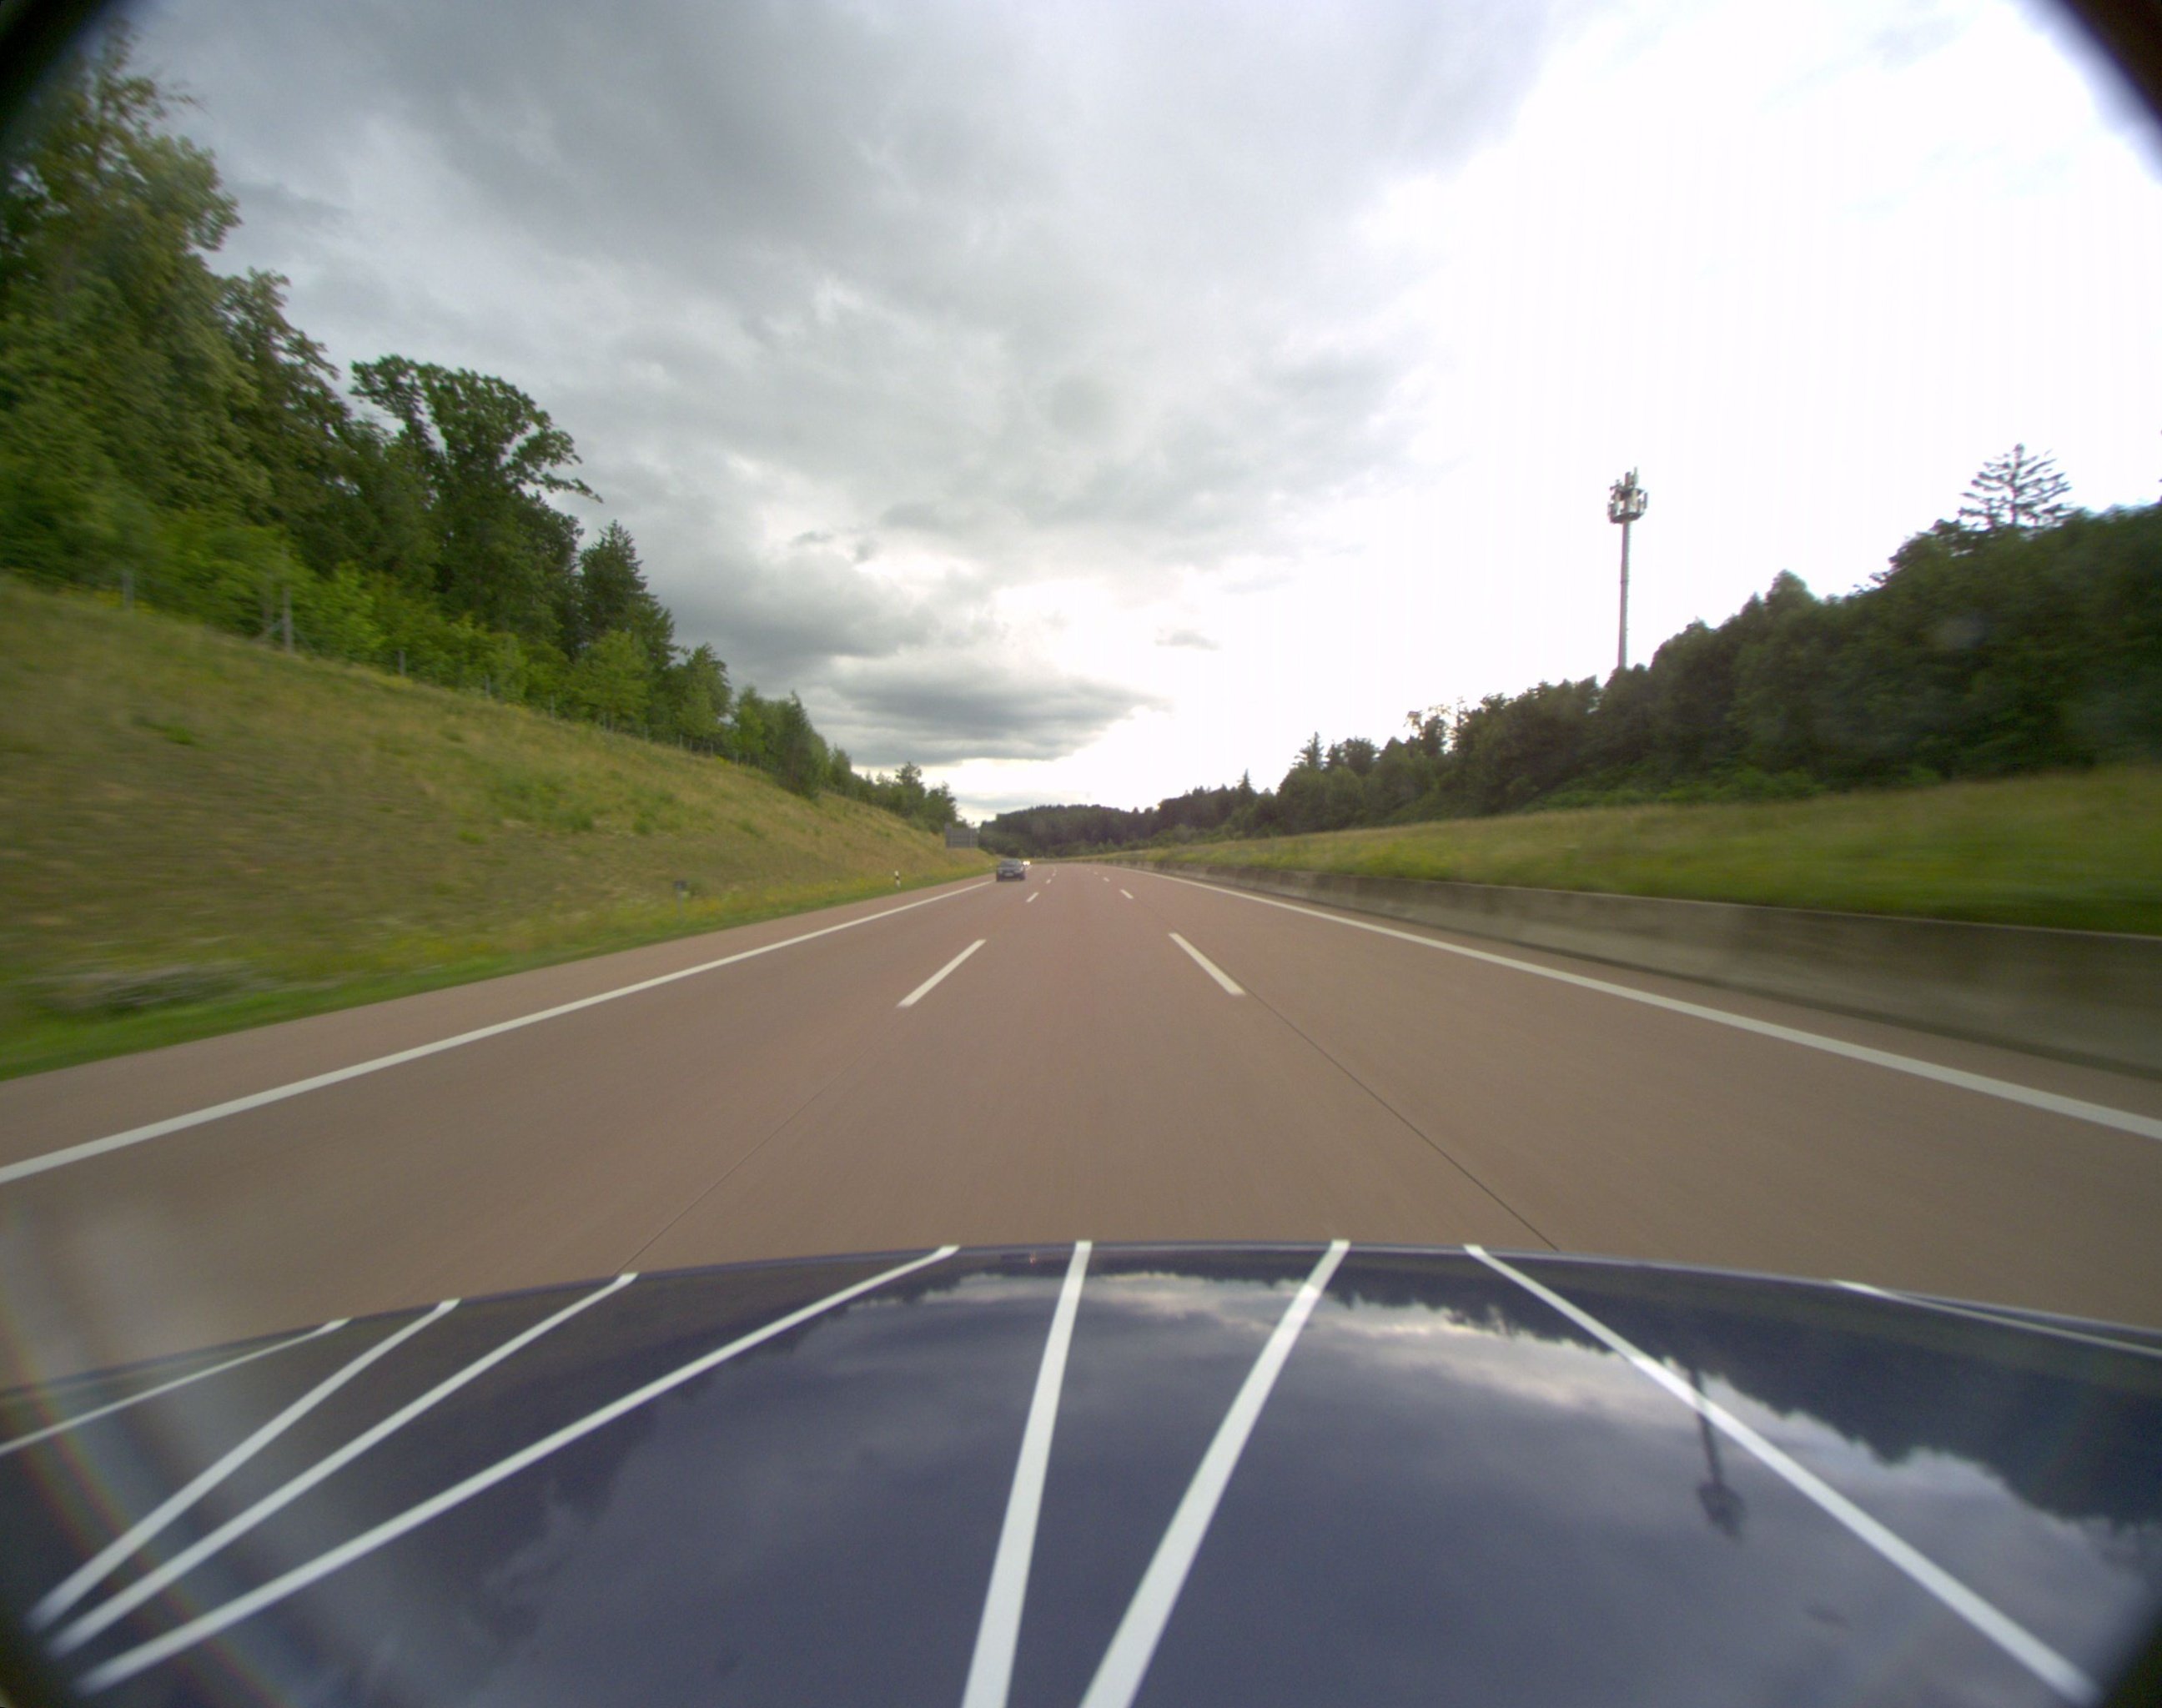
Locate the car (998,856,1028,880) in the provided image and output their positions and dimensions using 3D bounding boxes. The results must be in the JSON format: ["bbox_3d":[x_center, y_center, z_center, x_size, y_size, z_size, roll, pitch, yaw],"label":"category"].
[{"bbox_3d":[-4.473,0.919,50.519,1.676,1.395,4.231,-1,1,-2],"label":"car"}]
